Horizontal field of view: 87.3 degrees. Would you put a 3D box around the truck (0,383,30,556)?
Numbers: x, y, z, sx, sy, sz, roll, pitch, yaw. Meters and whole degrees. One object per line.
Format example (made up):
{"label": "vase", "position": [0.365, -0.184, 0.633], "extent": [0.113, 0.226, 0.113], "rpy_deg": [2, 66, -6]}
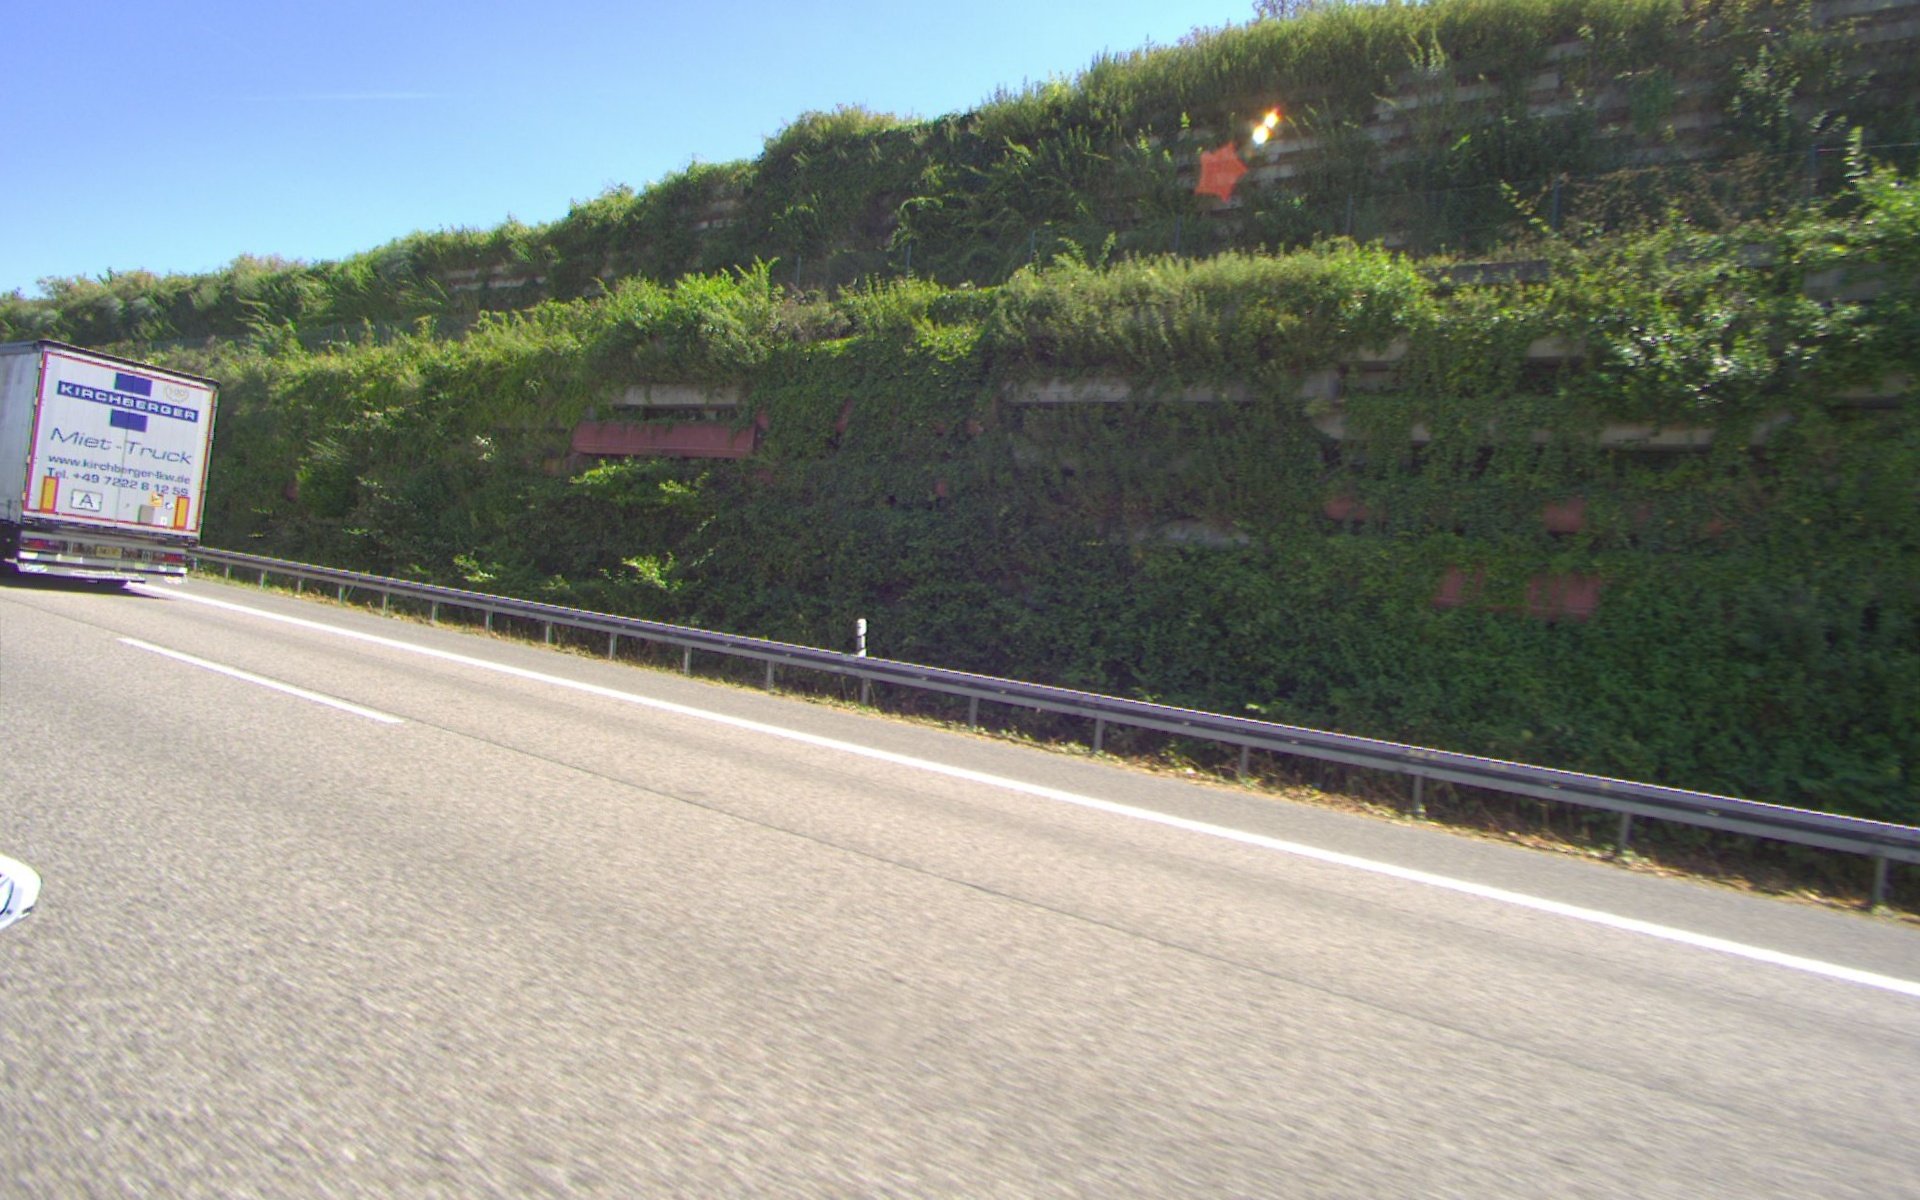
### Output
{"label": "truck", "position": [-26.499, -3.555, 25.172], "extent": [5.412, 4.193, 3.139], "rpy_deg": [7, 1, 32]}

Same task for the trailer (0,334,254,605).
{"label": "trailer", "position": [-19.892, -2.757, 21.039], "extent": [13.208, 4.172, 3.186], "rpy_deg": [7, 0, 32]}
